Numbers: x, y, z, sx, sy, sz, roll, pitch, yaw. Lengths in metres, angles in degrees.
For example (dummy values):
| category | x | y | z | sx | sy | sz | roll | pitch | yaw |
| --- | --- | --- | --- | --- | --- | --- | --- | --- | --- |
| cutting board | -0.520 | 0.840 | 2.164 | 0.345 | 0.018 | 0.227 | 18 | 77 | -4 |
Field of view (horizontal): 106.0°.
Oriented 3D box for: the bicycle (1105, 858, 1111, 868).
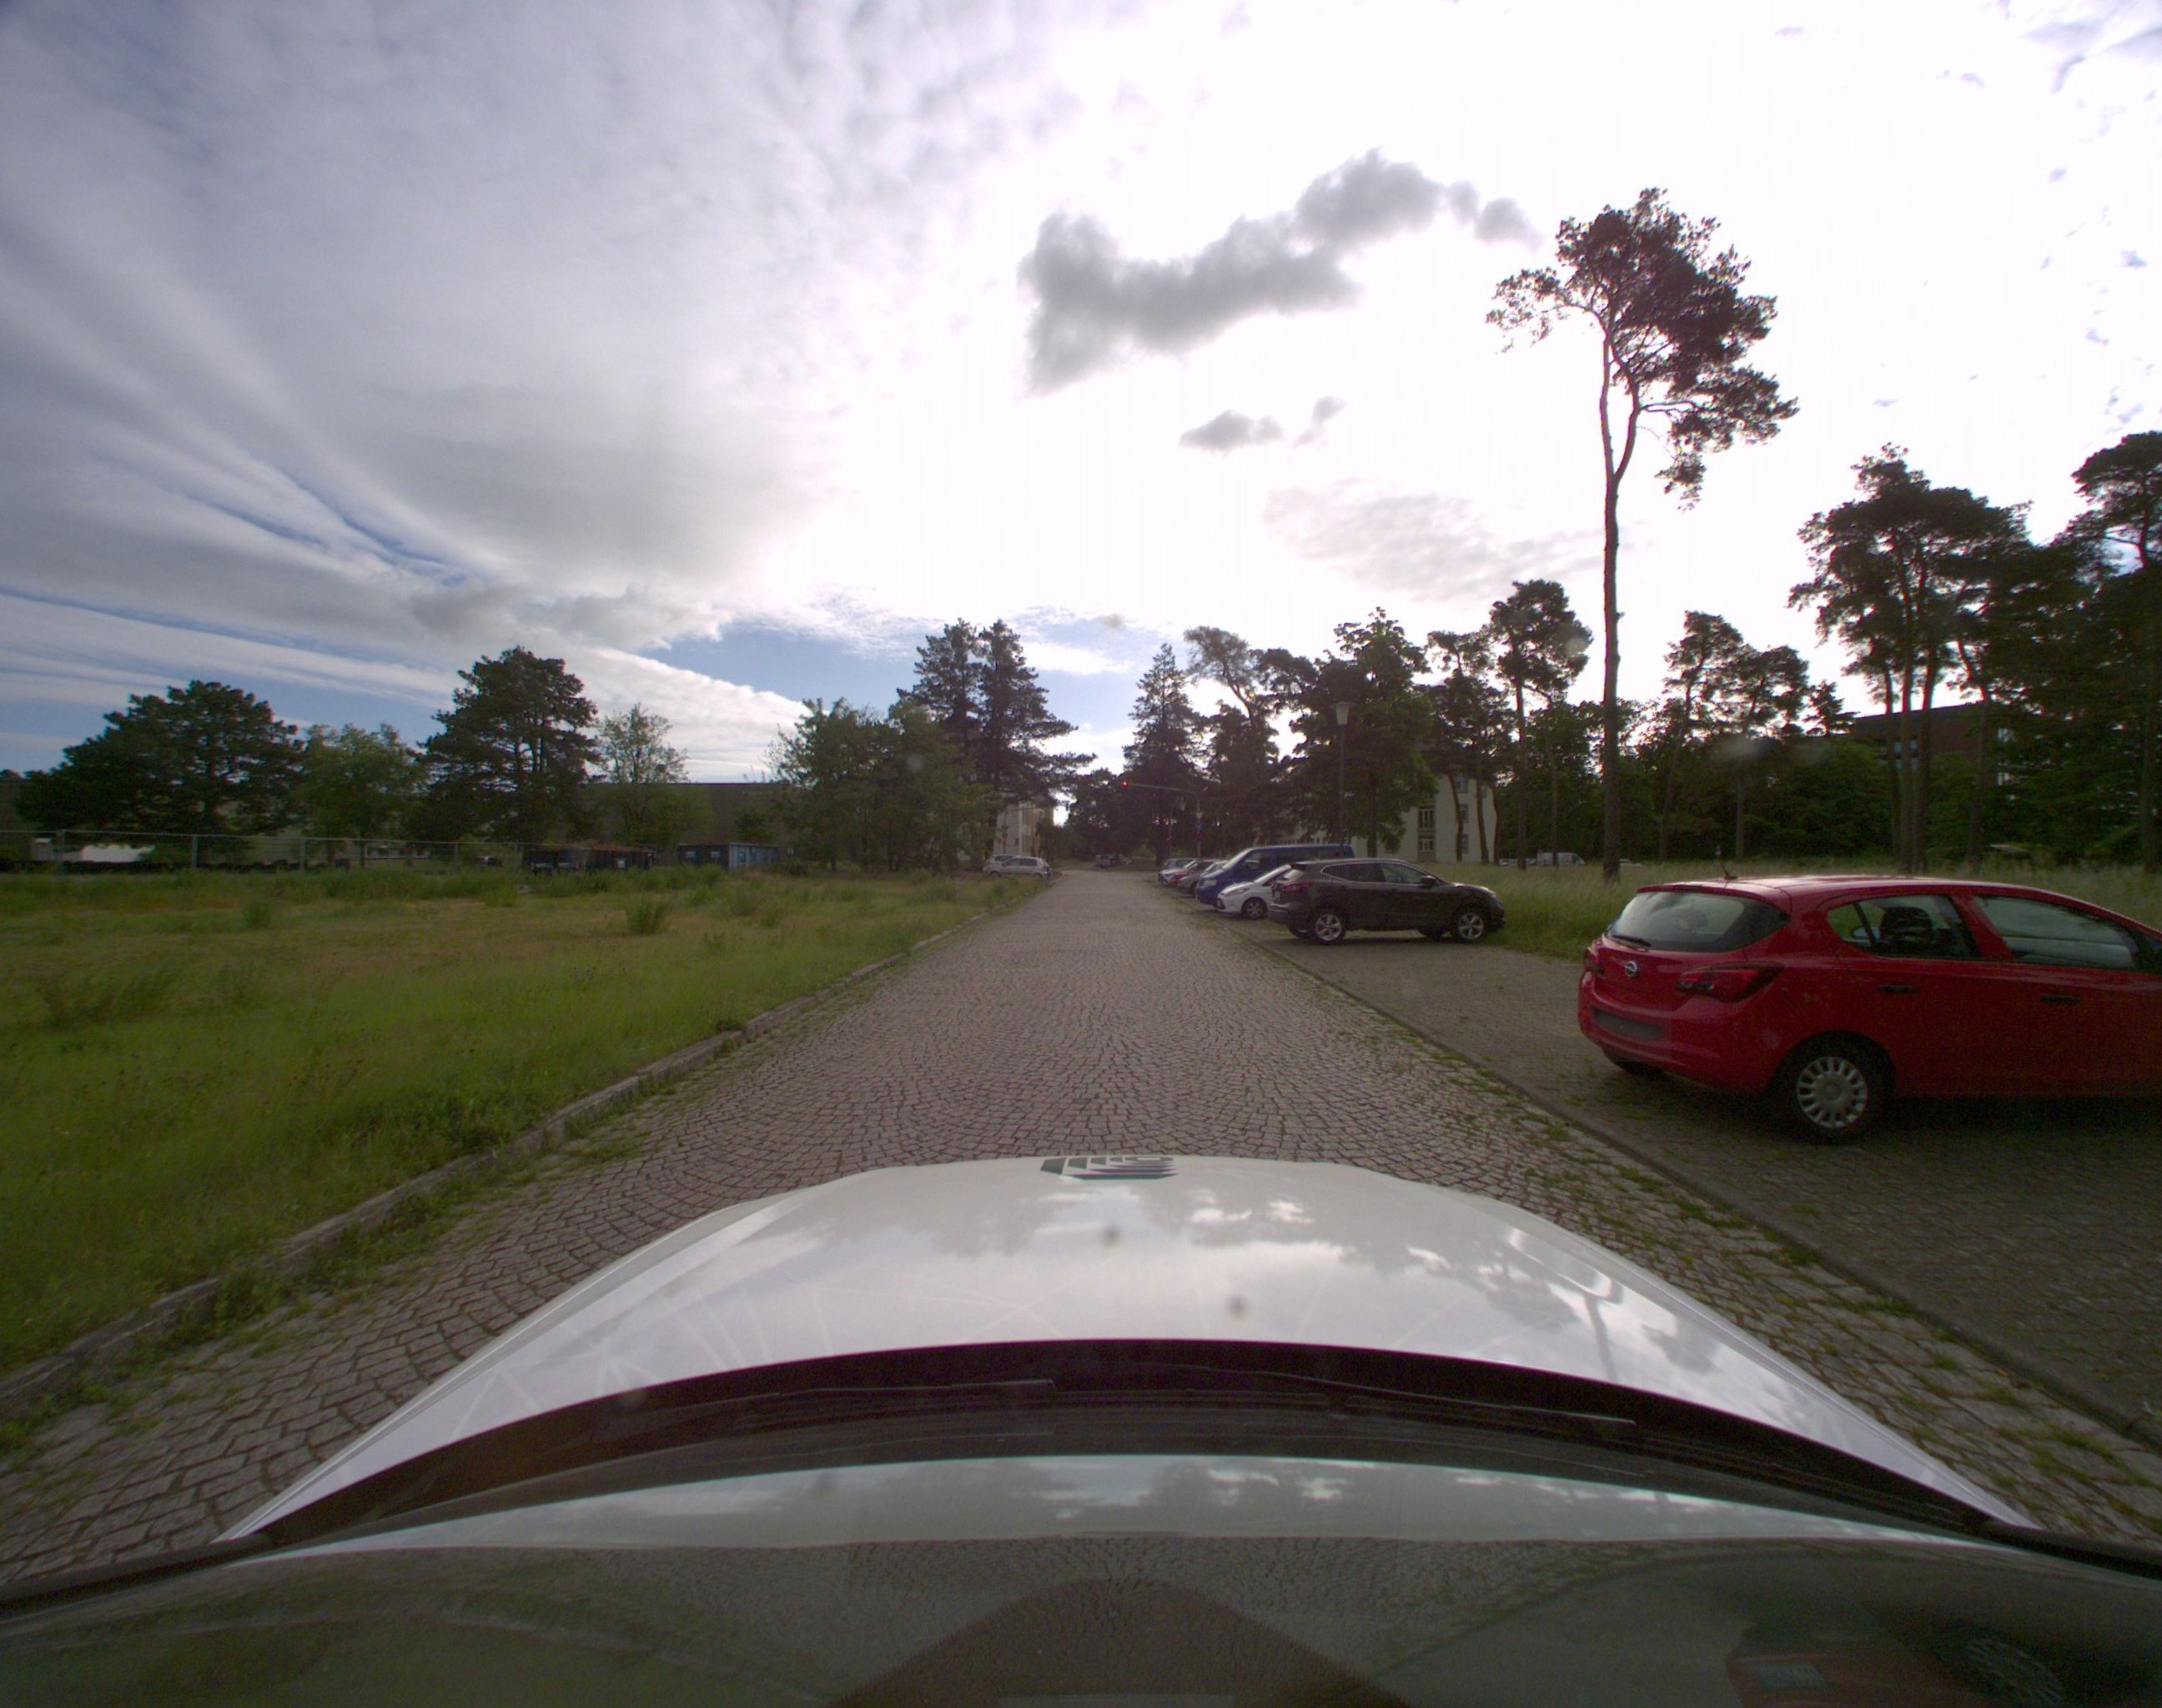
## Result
| category | x | y | z | sx | sy | sz | roll | pitch | yaw |
| --- | --- | --- | --- | --- | --- | --- | --- | --- | --- |
| bicycle | 3.159 | 1.046 | 95.908 | 0.660 | 1.171 | 1.888 | 1 | 0 | 2 |

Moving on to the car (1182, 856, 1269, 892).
| category | x | y | z | sx | sy | sz | roll | pitch | yaw |
| --- | --- | --- | --- | --- | --- | --- | --- | --- | --- |
| car | 6.286 | 0.841 | 35.708 | 3.493 | 1.487 | 1.743 | -1 | 0 | 1 |

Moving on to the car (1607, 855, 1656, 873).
| category | x | y | z | sx | sy | sz | roll | pitch | yaw |
| --- | --- | --- | --- | --- | --- | --- | --- | --- | --- |
| car | 60.760 | 1.101 | 89.919 | 4.116 | 1.804 | 1.901 | 1 | 0 | 3 |

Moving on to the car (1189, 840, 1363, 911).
| category | x | y | z | sx | sy | sz | roll | pitch | yaw |
| --- | --- | --- | --- | --- | --- | --- | --- | --- | --- |
| car | 5.791 | 0.616 | 24.632 | 4.781 | 2.004 | 1.966 | -1 | 0 | -1 |

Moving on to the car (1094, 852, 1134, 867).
| category | x | y | z | sx | sy | sz | roll | pitch | yaw |
| --- | --- | --- | --- | --- | --- | --- | --- | --- | --- |
| car | 4.612 | 0.798 | 115.334 | 5.378 | 2.101 | 2.170 | 0 | 0 | -11 |

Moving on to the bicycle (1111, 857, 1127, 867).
| category | x | y | z | sx | sy | sz | roll | pitch | yaw |
| --- | --- | --- | --- | --- | --- | --- | --- | --- | --- |
| bicycle | 4.642 | 0.960 | 100.522 | 1.878 | 1.171 | 0.664 | 2 | -1 | -4 |

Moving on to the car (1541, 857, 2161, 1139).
| category | x | y | z | sx | sy | sz | roll | pitch | yaw |
| --- | --- | --- | --- | --- | --- | --- | --- | --- | --- |
| car | 5.510 | 0.799 | 5.421 | 3.911 | 1.496 | 1.784 | -1 | 0 | -1 |

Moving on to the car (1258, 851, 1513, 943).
| category | x | y | z | sx | sy | sz | roll | pitch | yaw |
| --- | --- | --- | --- | --- | --- | --- | --- | --- | --- |
| car | 5.732 | 0.776 | 15.727 | 4.191 | 1.595 | 1.952 | -1 | 0 | -1 |

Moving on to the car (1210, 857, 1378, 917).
| category | x | y | z | sx | sy | sz | roll | pitch | yaw |
| --- | --- | --- | --- | --- | --- | --- | --- | --- | --- |
| car | 5.699 | 0.858 | 22.086 | 4.087 | 1.479 | 1.720 | -1 | 0 | -2 |

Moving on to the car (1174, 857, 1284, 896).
| category | x | y | z | sx | sy | sz | roll | pitch | yaw |
| --- | --- | --- | --- | --- | --- | --- | --- | --- | --- |
| car | 5.908 | 0.881 | 32.845 | 4.115 | 1.447 | 1.766 | -1 | 0 | 1 |

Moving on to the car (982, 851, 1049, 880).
| category | x | y | z | sx | sy | sz | roll | pitch | yaw |
| --- | --- | --- | --- | --- | --- | --- | --- | --- | --- |
| car | -4.249 | 0.734 | 52.991 | 4.289 | 1.732 | 1.650 | -1 | 0 | -4 |

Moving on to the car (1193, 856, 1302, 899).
| category | x | y | z | sx | sy | sz | roll | pitch | yaw |
| --- | --- | --- | --- | --- | --- | --- | --- | --- | --- |
| car | 6.065 | 0.836 | 29.937 | 3.640 | 1.479 | 1.766 | -1 | 0 | 1 |

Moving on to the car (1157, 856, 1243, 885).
| category | x | y | z | sx | sy | sz | roll | pitch | yaw |
| --- | --- | --- | --- | --- | --- | --- | --- | --- | --- |
| car | 6.251 | 0.860 | 43.041 | 4.180 | 1.437 | 1.752 | -1 | 0 | -6 |

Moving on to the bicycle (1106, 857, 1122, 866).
| category | x | y | z | sx | sy | sz | roll | pitch | yaw |
| --- | --- | --- | --- | --- | --- | --- | --- | --- | --- |
| bicycle | 4.232 | 0.966 | 104.026 | 1.878 | 1.171 | 0.664 | 2 | -1 | -4 |

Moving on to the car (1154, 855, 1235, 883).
| category | x | y | z | sx | sy | sz | roll | pitch | yaw |
| --- | --- | --- | --- | --- | --- | --- | --- | --- | --- |
| car | 6.345 | 0.820 | 45.808 | 4.228 | 1.479 | 1.704 | -1 | 0 | -10 |

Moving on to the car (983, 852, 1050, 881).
| category | x | y | z | sx | sy | sz | roll | pitch | yaw |
| --- | --- | --- | --- | --- | --- | --- | --- | --- | --- |
| car | -3.731 | 0.714 | 47.580 | 3.710 | 1.481 | 1.672 | 2 | 0 | -2 |

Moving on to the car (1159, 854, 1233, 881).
| category | x | y | z | sx | sy | sz | roll | pitch | yaw |
| --- | --- | --- | --- | --- | --- | --- | --- | --- | --- |
| car | 6.817 | 0.785 | 48.356 | 4.127 | 1.463 | 1.631 | -1 | 0 | -4 |

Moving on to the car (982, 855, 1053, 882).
| category | x | y | z | sx | sy | sz | roll | pitch | yaw |
| --- | --- | --- | --- | --- | --- | --- | --- | --- | --- |
| car | -3.891 | 0.869 | 50.179 | 4.290 | 1.554 | 1.809 | -1 | 0 | -5 |

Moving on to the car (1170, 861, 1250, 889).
| category | x | y | z | sx | sy | sz | roll | pitch | yaw |
| --- | --- | --- | --- | --- | --- | --- | --- | --- | --- |
| car | 6.034 | 0.982 | 38.338 | 3.572 | 1.223 | 1.629 | -1 | 0 | 2 |

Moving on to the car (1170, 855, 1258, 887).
| category | x | y | z | sx | sy | sz | roll | pitch | yaw |
| --- | --- | --- | --- | --- | --- | --- | --- | --- | --- |
| car | 6.597 | 0.844 | 40.673 | 4.092 | 1.476 | 1.684 | -1 | 0 | -1 |

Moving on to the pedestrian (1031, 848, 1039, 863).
| category | x | y | z | sx | sy | sz | roll | pitch | yaw |
| --- | --- | --- | --- | --- | --- | --- | --- | --- | --- |
| pedestrian | -6.396 | 0.215 | 113.201 | 1.070 | 1.959 | 1.121 | 1 | -1 | 1 |

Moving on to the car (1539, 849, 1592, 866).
| category | x | y | z | sx | sy | sz | roll | pitch | yaw |
| --- | --- | --- | --- | --- | --- | --- | --- | --- | --- |
| car | 59.895 | 0.433 | 100.673 | 5.280 | 2.019 | 2.107 | 2 | 0 | 2 |
